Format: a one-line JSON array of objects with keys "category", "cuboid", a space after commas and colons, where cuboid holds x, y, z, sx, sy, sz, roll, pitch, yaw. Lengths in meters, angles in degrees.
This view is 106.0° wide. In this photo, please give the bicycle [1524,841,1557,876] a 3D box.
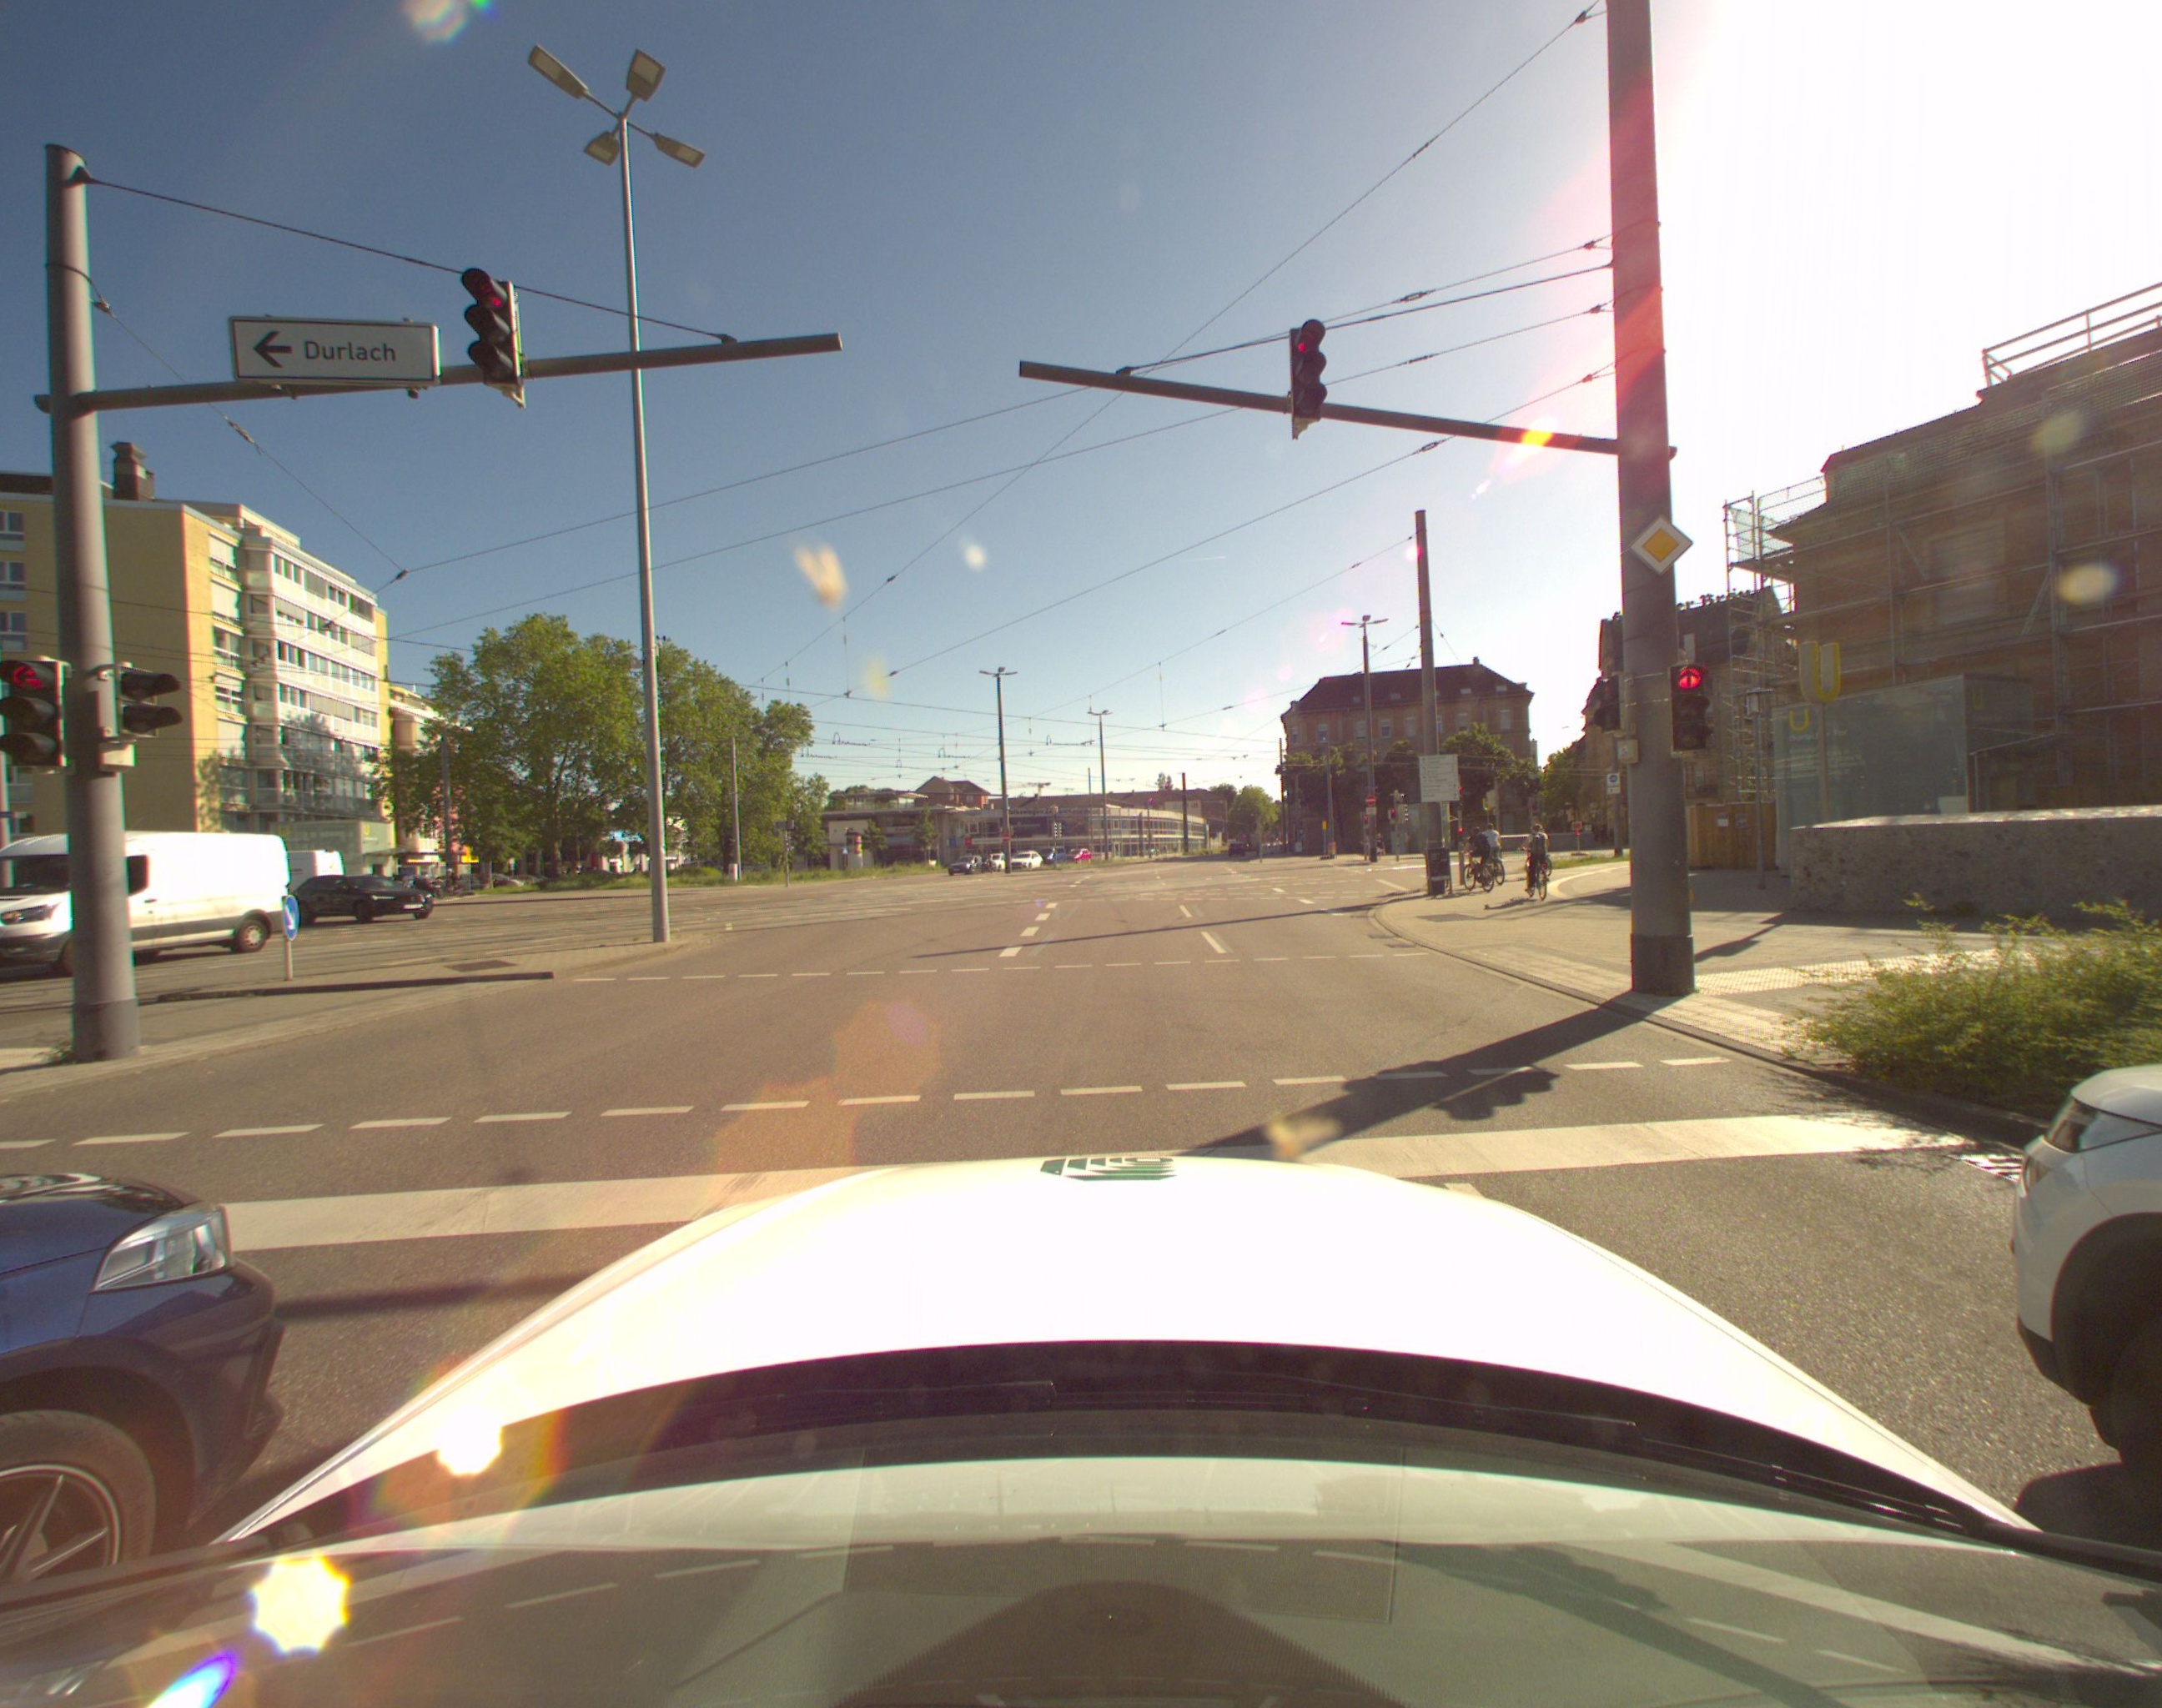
[{"category": "bicycle", "cuboid": [15.145, 0.134, 26.880, 0.567, 1.125, 1.748, -2, 0, 17]}]

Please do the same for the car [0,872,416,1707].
[{"category": "car", "cuboid": [-2.665, 0.781, 0.119, 1.704, 1.445, 4.034, -1, 0, 2]}]

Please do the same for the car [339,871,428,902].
[{"category": "car", "cuboid": [-42.764, 1.967, 50.001, 3.742, 1.662, 1.585, -2, 0, -18]}]

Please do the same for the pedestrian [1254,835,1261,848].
[{"category": "pedestrian", "cuboid": [21.974, -1.527, 101.508, 0.796, 1.632, 0.721, -2, -1, 15]}]

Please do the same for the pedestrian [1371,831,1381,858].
[{"category": "pedestrian", "cuboid": [21.871, -0.721, 60.358, 0.461, 2.013, 0.449, -3, 0, -16]}]

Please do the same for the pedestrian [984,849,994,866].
[{"category": "pedestrian", "cuboid": [-6.870, 0.270, 60.796, 0.419, 1.204, 0.753, -2, 0, 19]}]

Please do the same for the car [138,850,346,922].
[{"category": "car", "cuboid": [-36.479, 1.340, 35.640, 5.920, 2.744, 2.131, -2, 0, -18]}]

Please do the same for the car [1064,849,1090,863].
[{"category": "car", "cuboid": [-0.441, 0.241, 86.288, 1.613, 1.364, 3.703, -2, 0, 18]}]

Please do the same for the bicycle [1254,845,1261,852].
[{"category": "bicycle", "cuboid": [21.932, -0.728, 101.135, 0.737, 0.870, 1.939, -2, 0, 16]}]

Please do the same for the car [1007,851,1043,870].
[{"category": "car", "cuboid": [-4.474, 0.512, 65.224, 1.613, 1.382, 3.754, -2, 0, 17]}]

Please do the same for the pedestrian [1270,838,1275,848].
[{"category": "pedestrian", "cuboid": [28.644, -1.649, 121.771, 0.740, 1.523, 0.721, -2, 0, 17]}]

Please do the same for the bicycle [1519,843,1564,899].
[{"category": "bicycle", "cuboid": [10.352, 0.365, 18.369, 0.679, 1.163, 1.894, -3, 0, 25]}]

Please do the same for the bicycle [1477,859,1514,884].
[{"category": "bicycle", "cuboid": [12.411, 0.518, 24.427, 0.534, 0.655, 1.471, -3, 0, 9]}]

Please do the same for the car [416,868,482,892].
[{"category": "car", "cuboid": [-49.725, 2.060, 64.130, 3.742, 1.662, 1.585, -2, 0, -18]}]

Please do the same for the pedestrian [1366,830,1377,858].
[{"category": "pedestrian", "cuboid": [21.299, -0.715, 59.717, 0.574, 2.013, 0.449, -3, 0, -16]}]

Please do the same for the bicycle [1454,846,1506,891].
[{"category": "bicycle", "cuboid": [10.799, 0.377, 22.128, 0.622, 1.114, 1.854, -5, 0, 7]}]

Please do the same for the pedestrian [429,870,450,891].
[{"category": "pedestrian", "cuboid": [-37.128, 1.537, 47.140, 0.796, 1.204, 0.557, -2, 0, -17]}]

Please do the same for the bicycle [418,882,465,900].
[{"category": "bicycle", "cuboid": [-37.021, 2.156, 47.168, 2.010, 0.913, 0.559, -2, 0, -17]}]

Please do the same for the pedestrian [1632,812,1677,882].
[{"category": "pedestrian", "cuboid": [12.042, -0.144, 17.120, 0.511, 1.402, 0.967, -4, 0, 23]}]

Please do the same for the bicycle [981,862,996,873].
[{"category": "bicycle", "cuboid": [-6.894, 1.009, 60.650, 0.419, 0.718, 1.642, -2, 0, 19]}]

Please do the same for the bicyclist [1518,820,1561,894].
[{"category": "bicyclist", "cuboid": [10.361, 0.067, 18.426, 0.679, 1.598, 0.983, -3, 0, 25]}]

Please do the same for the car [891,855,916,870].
[{"category": "car", "cuboid": [-21.870, 1.067, 100.595, 1.958, 1.706, 4.085, -2, 0, 2]}]

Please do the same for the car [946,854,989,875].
[{"category": "car", "cuboid": [-8.499, 0.780, 61.244, 1.689, 1.354, 3.719, -2, 0, 19]}]

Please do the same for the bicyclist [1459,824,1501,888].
[{"category": "bicyclist", "cuboid": [10.751, 0.042, 21.972, 0.622, 1.637, 0.997, -5, 0, 7]}]

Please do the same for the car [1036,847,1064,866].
[{"category": "car", "cuboid": [-2.993, 0.234, 79.217, 1.613, 1.692, 3.702, -2, 0, 17]}]

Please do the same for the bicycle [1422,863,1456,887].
[{"category": "bicycle", "cuboid": [10.944, 0.632, 24.937, 0.533, 0.655, 1.731, -5, 0, 12]}]

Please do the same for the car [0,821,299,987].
[{"category": "car", "cuboid": [-17.581, 0.797, 14.912, 1.995, 2.508, 5.398, -2, 0, -11]}]

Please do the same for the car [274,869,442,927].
[{"category": "car", "cuboid": [-24.211, 1.449, 27.357, 4.040, 1.659, 1.873, -2, 0, 5]}]

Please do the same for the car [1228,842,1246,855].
[{"category": "car", "cuboid": [19.064, -0.732, 99.345, 1.686, 1.503, 4.284, -2, 0, 17]}]

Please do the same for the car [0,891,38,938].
[{"category": "car", "cuboid": [-38.407, 2.145, 26.970, 4.557, 1.501, 1.857, -2, 0, -12]}]

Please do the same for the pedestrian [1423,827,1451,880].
[{"category": "pedestrian", "cuboid": [10.816, -0.023, 24.743, 0.545, 1.562, 0.861, -2, 0, 11]}]

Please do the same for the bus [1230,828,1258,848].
[{"category": "bus", "cuboid": [33.644, -3.174, 166.919, 3.808, 3.607, 24.969, -1, 0, 16]}]

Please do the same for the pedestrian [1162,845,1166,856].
[{"category": "pedestrian", "cuboid": [12.794, -0.531, 125.515, 0.537, 1.688, 0.633, -2, 0, 22]}]

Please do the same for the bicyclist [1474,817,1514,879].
[{"category": "bicyclist", "cuboid": [12.332, -0.173, 24.336, 0.742, 1.778, 0.926, -3, 0, 9]}]

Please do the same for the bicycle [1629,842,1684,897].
[{"category": "bicycle", "cuboid": [12.108, 0.298, 17.177, 0.511, 1.044, 1.778, -4, 0, 23]}]

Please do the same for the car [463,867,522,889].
[{"category": "car", "cuboid": [-51.299, 2.087, 71.054, 3.742, 1.662, 1.585, -2, 0, -18]}]

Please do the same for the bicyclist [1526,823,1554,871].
[{"category": "bicyclist", "cuboid": [15.150, -0.234, 26.917, 0.567, 1.568, 0.951, -2, 0, 17]}]

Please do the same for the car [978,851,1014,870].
[{"category": "car", "cuboid": [-6.980, 0.548, 67.167, 1.613, 1.424, 3.702, -2, 0, 17]}]
